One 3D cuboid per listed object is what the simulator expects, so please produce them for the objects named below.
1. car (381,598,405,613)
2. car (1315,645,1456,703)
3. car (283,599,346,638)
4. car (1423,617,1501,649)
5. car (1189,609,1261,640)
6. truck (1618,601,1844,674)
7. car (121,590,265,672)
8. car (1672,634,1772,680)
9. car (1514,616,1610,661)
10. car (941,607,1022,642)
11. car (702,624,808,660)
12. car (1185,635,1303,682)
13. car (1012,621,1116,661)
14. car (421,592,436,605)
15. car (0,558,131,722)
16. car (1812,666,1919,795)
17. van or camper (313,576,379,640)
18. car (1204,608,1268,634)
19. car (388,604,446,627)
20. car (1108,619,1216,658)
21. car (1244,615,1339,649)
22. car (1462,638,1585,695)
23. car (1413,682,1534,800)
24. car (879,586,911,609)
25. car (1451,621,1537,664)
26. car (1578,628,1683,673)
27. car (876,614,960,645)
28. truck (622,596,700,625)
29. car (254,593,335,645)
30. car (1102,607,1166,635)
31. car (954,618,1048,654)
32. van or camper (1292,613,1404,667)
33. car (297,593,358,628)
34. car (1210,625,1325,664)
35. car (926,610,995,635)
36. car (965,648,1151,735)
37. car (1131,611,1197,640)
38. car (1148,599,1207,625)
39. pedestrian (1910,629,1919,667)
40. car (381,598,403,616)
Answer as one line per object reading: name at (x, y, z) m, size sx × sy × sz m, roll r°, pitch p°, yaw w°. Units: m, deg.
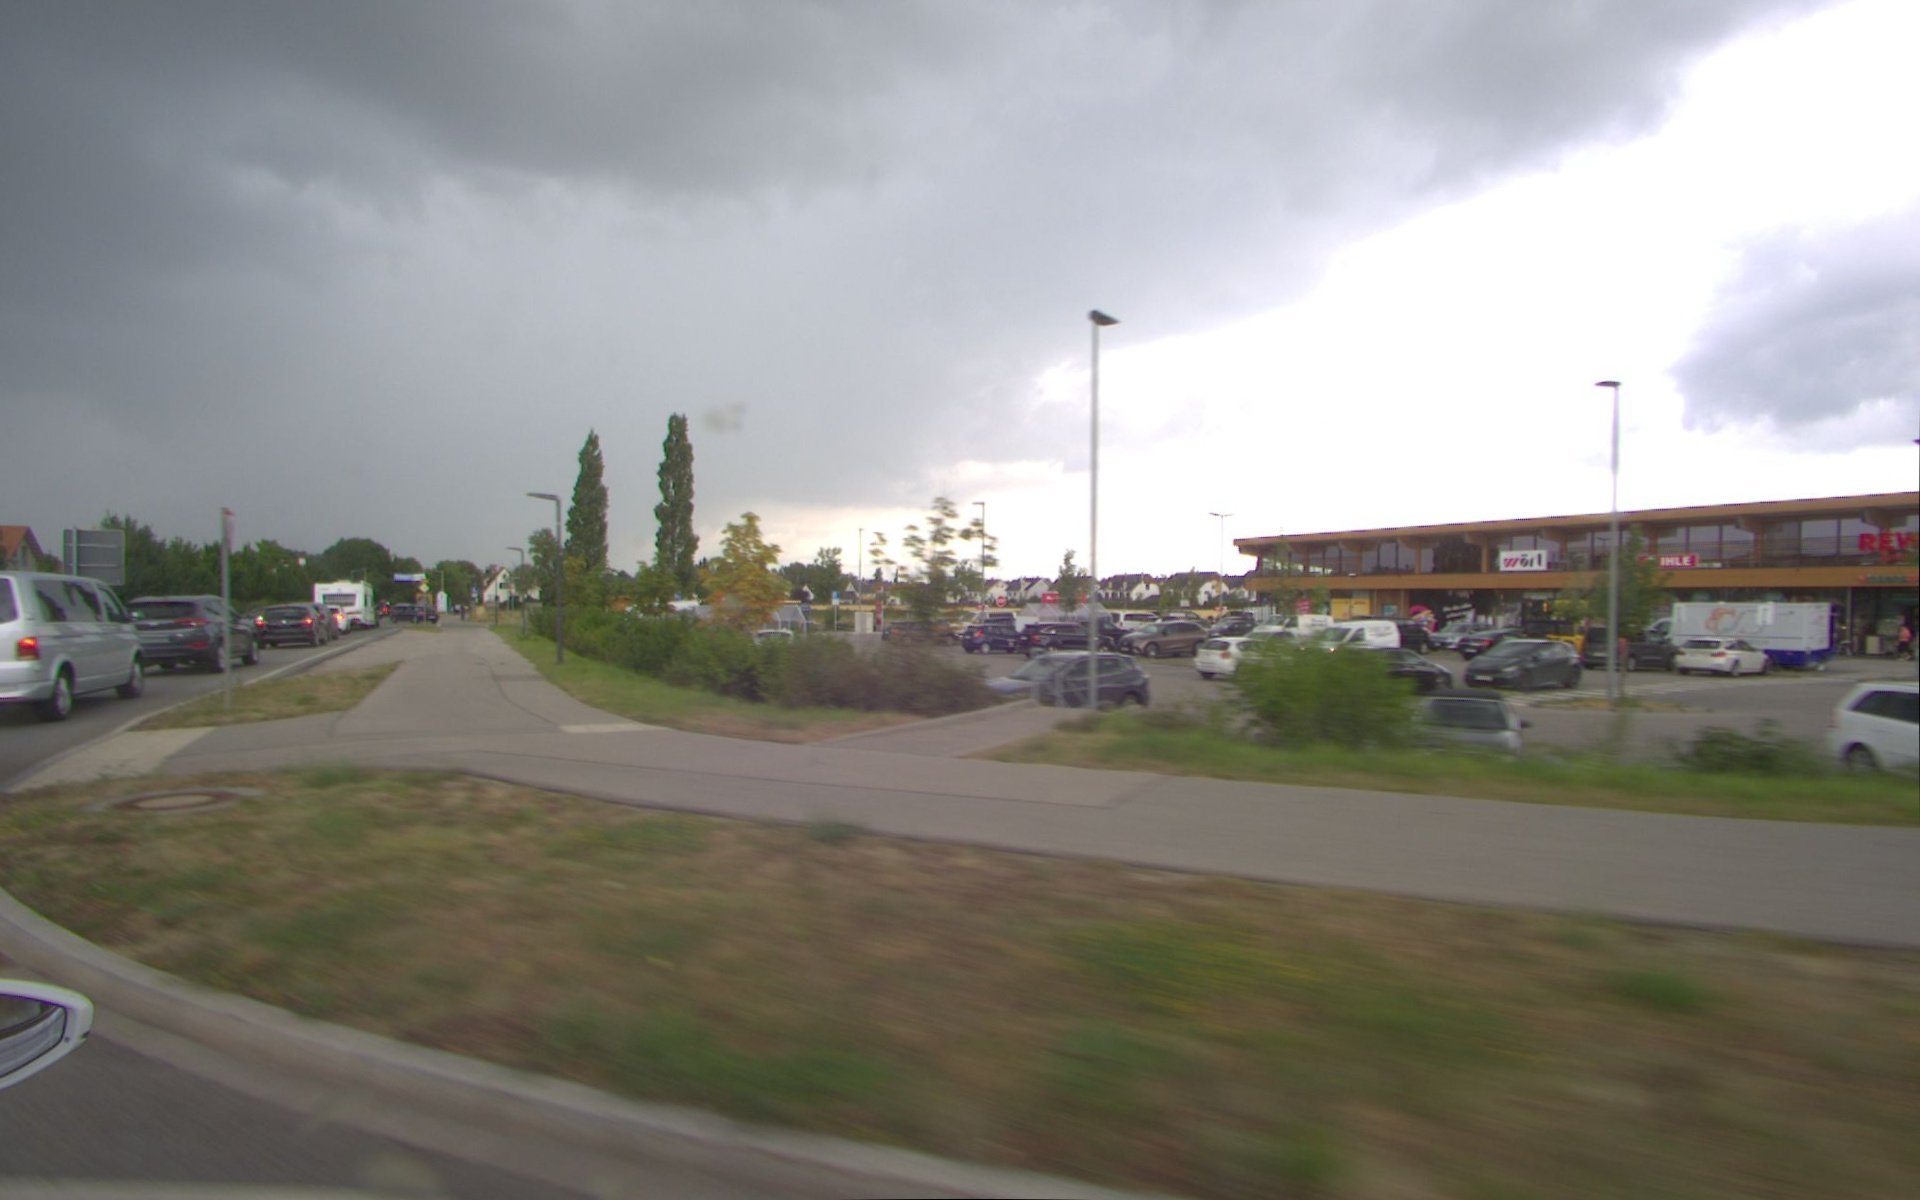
car at (-54.966, 0.522, 97.101) m, size 1.823 × 1.455 × 3.982 m, roll 1°, pitch 0°, yaw -27°
car at (12.339, 2.090, 28.991) m, size 3.944 × 1.417 × 1.826 m, roll 0°, pitch 1°, yaw -32°
car at (-25.699, 0.706, 39.963) m, size 1.755 × 1.453 × 3.784 m, roll -1°, pitch 0°, yaw -28°
car at (26.865, 1.764, 53.550) m, size 4.166 × 1.633 × 1.758 m, roll 1°, pitch 0°, yaw -30°
car at (16.333, 1.504, 61.735) m, size 3.935 × 1.862 × 1.993 m, roll 0°, pitch 0°, yaw -23°
truck at (33.293, 1.497, 43.587) m, size 2.935 × 2.845 × 7.216 m, roll 0°, pitch 0°, yaw -31°
car at (-16.872, 0.654, 22.233) m, size 1.755 × 1.639 × 3.984 m, roll 0°, pitch -1°, yaw -26°
car at (28.750, 2.106, 37.765) m, size 3.945 × 1.550 × 1.721 m, roll 0°, pitch 1°, yaw -32°
car at (26.181, 1.647, 43.525) m, size 3.939 × 1.879 × 1.764 m, roll 1°, pitch 0°, yaw -27°
car at (1.399, 1.538, 64.207) m, size 5.062 × 2.041 × 1.984 m, roll 0°, pitch 2°, yaw -37°
car at (-8.999, 1.801, 43.936) m, size 4.181 × 1.459 × 1.991 m, roll 0°, pitch 0°, yaw -27°
car at (9.822, 1.988, 34.592) m, size 3.941 × 1.504 × 1.673 m, roll 1°, pitch 0°, yaw -31°
car at (4.683, 1.823, 44.917) m, size 4.398 × 1.728 × 1.795 m, roll 1°, pitch 0°, yaw -27°
car at (-98.437, -0.266, 185.467) m, size 1.967 × 2.241 × 3.987 m, roll 0°, pitch 0°, yaw -22°
car at (-12.933, 0.493, 13.532) m, size 1.845 × 1.959 × 3.982 m, roll 0°, pitch -1°, yaw -27°
car at (15.122, 2.050, 14.470) m, size 1.765 × 1.696 × 4.441 m, roll -1°, pitch 2°, yaw 0°
van or camper at (-34.444, 0.457, 56.373) m, size 2.593 × 3.367 × 6.792 m, roll 0°, pitch -1°, yaw -27°
car at (19.189, 1.446, 69.672) m, size 3.936 × 1.795 × 1.992 m, roll 0°, pitch 0°, yaw -25°
car at (-43.402, 1.256, 80.081) m, size 3.924 × 1.817 × 1.618 m, roll 0°, pitch 0°, yaw 10°
car at (9.655, 1.804, 47.752) m, size 4.915 × 1.686 × 1.991 m, roll 0°, pitch 0°, yaw -27°
car at (18.585, 1.778, 56.103) m, size 5.223 × 1.855 × 1.991 m, roll 1°, pitch -1°, yaw -27°
car at (17.797, 2.036, 31.582) m, size 3.945 × 1.574 × 1.721 m, roll 0°, pitch 0°, yaw -32°
car at (8.258, 2.176, 16.253) m, size 1.555 × 1.390 × 3.720 m, roll 1°, pitch 0°, yaw 26°
car at (-6.309, -0.245, 96.402) m, size 1.967 × 2.039 × 3.990 m, roll 3°, pitch -1°, yaw -20°
car at (24.680, 1.932, 46.236) m, size 3.944 × 1.879 × 1.762 m, roll 1°, pitch 0°, yaw -31°
car at (26.948, 1.986, 40.237) m, size 4.059 × 1.747 × 1.844 m, roll 1°, pitch -1°, yaw -28°
car at (-2.426, 1.696, 58.133) m, size 4.501 × 1.687 × 1.991 m, roll 0°, pitch 1°, yaw -27°
truck at (-20.293, 0.717, 68.026) m, size 4.745 × 1.897 × 1.989 m, roll 1°, pitch 0°, yaw -31°
car at (-22.495, 0.609, 33.978) m, size 1.755 × 1.639 × 3.983 m, roll -1°, pitch 0°, yaw -27°
car at (12.067, 1.445, 69.358) m, size 3.935 × 1.862 × 1.993 m, roll 0°, pitch 0°, yaw -24°
car at (2.078, 1.770, 50.609) m, size 4.350 × 1.687 × 1.991 m, roll 0°, pitch 1°, yaw -27°
van or camper at (15.992, 1.616, 41.204) m, size 4.738 × 2.126 × 1.755 m, roll 1°, pitch 0°, yaw -31°
car at (-30.529, 0.536, 48.444) m, size 1.969 × 1.617 × 3.985 m, roll 0°, pitch -1°, yaw -25°
car at (13.157, 1.872, 42.828) m, size 4.716 × 1.504 × 1.895 m, roll 0°, pitch 0°, yaw -27°
car at (0.059, 1.500, 66.368) m, size 4.258 × 1.599 × 1.760 m, roll 0°, pitch 0°, yaw -25°
car at (2.243, 1.965, 22.464) m, size 3.950 × 1.629 × 1.778 m, roll 1°, pitch 1°, yaw -36°
car at (13.633, 1.704, 66.971) m, size 3.935 × 1.862 × 1.994 m, roll 1°, pitch 0°, yaw -23°
car at (16.399, 0.893, 75.505) m, size 3.935 × 1.865 × 1.868 m, roll 0°, pitch 0°, yaw -23°
pedestrian at (43.267, 2.161, 45.017) m, size 0.741 × 1.679 × 0.799 m, roll 1°, pitch 1°, yaw 40°
car at (-64.712, 0.791, 114.071) m, size 1.970 × 1.924 × 3.982 m, roll 1°, pitch 0°, yaw -27°
